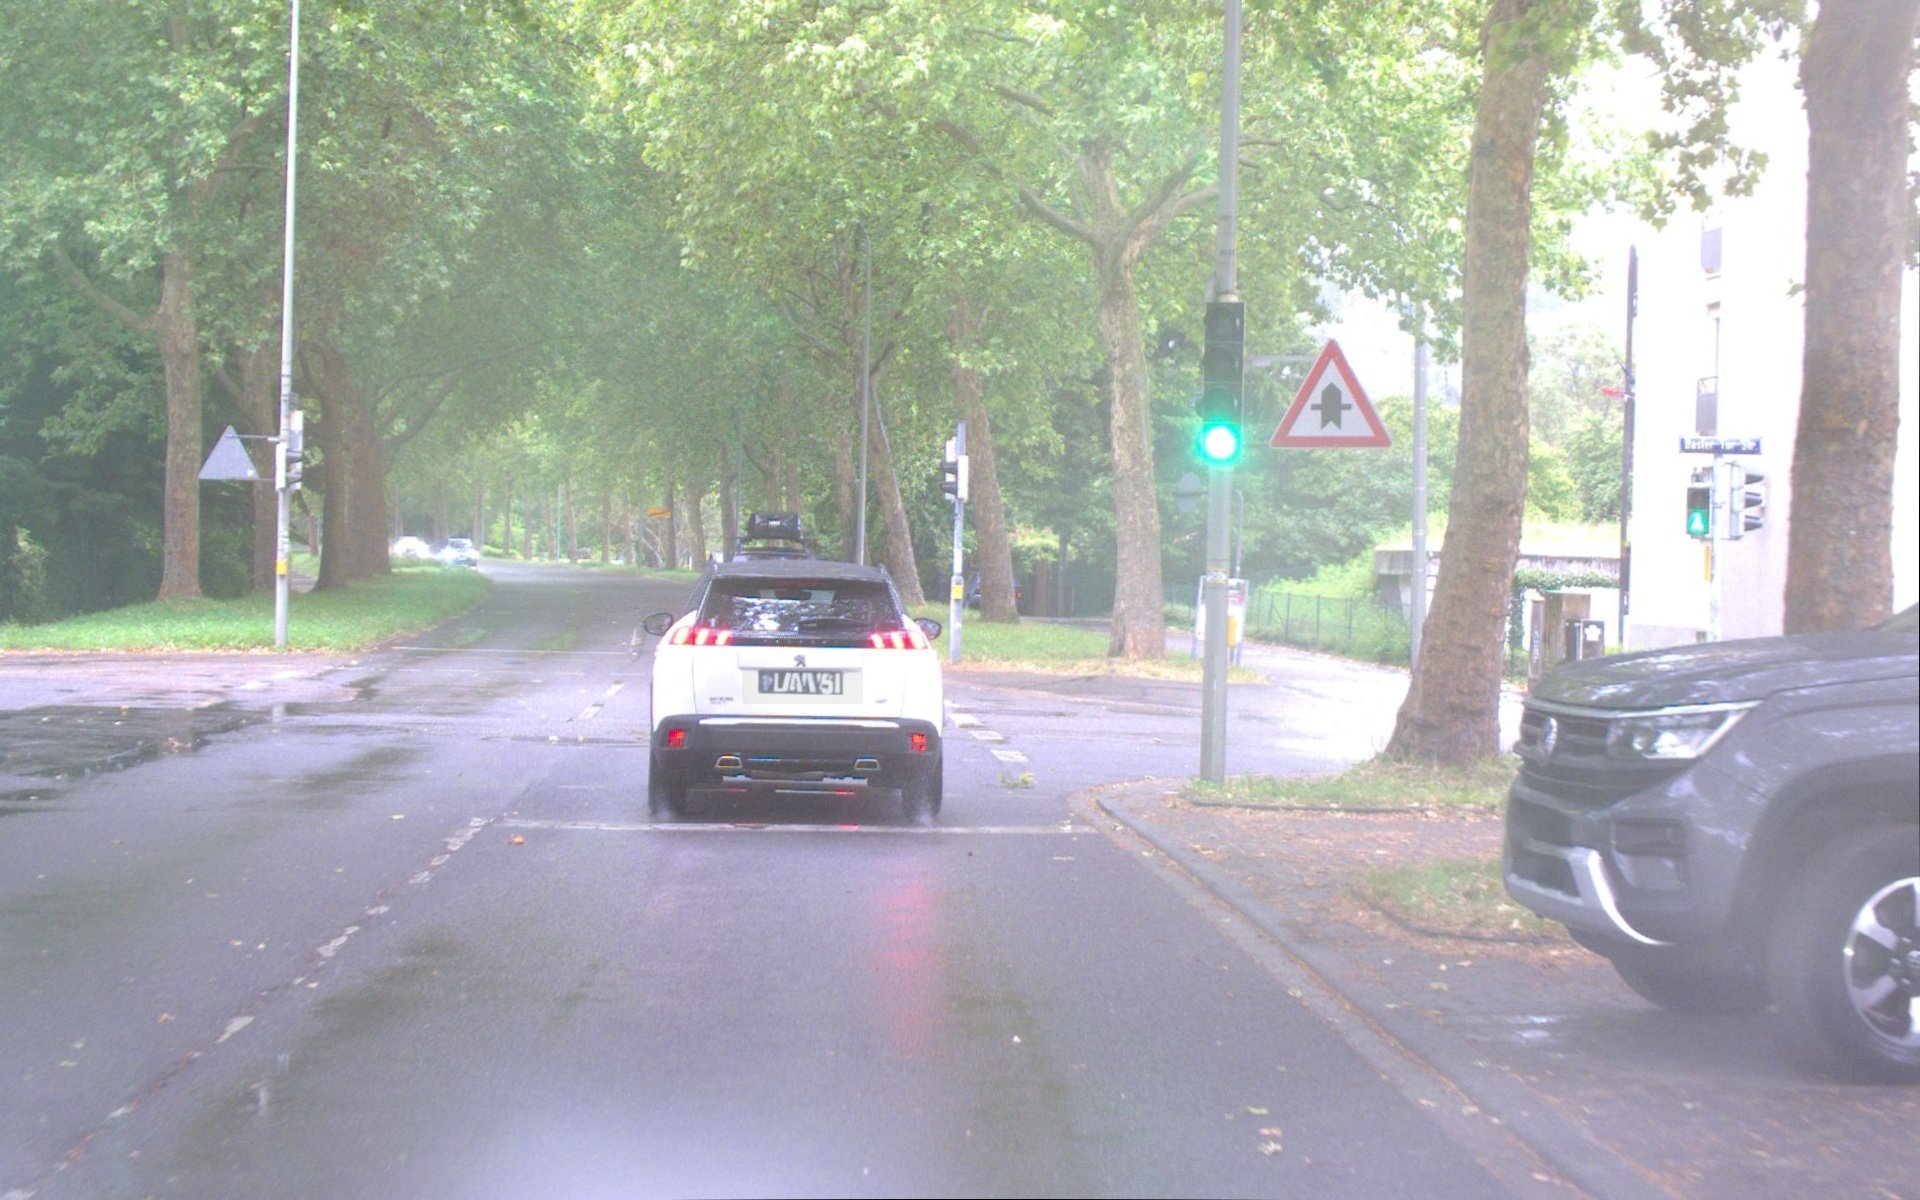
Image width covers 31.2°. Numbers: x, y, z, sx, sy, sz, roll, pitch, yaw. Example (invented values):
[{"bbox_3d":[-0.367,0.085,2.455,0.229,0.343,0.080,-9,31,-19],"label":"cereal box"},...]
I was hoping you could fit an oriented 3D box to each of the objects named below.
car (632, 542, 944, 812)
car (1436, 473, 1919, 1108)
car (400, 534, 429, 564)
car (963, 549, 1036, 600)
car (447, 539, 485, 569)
[{"bbox_3d":[-1.027,0.438,21.886,1.780,1.531,4.057,1,0,-1],"label":"car"},{"bbox_3d":[4.372,0.534,10.994,5.337,1.800,1.846,0,1,-7],"label":"car"},{"bbox_3d":[-37.419,-3.522,235.831,1.741,2.007,3.665,2,1,-6],"label":"car"},{"bbox_3d":[1.215,-0.797,106.721,1.905,1.504,3.932,1,1,-4],"label":"car"},{"bbox_3d":[-28.342,-2.637,197.210,1.873,1.671,3.709,1,1,-4],"label":"car"}]
